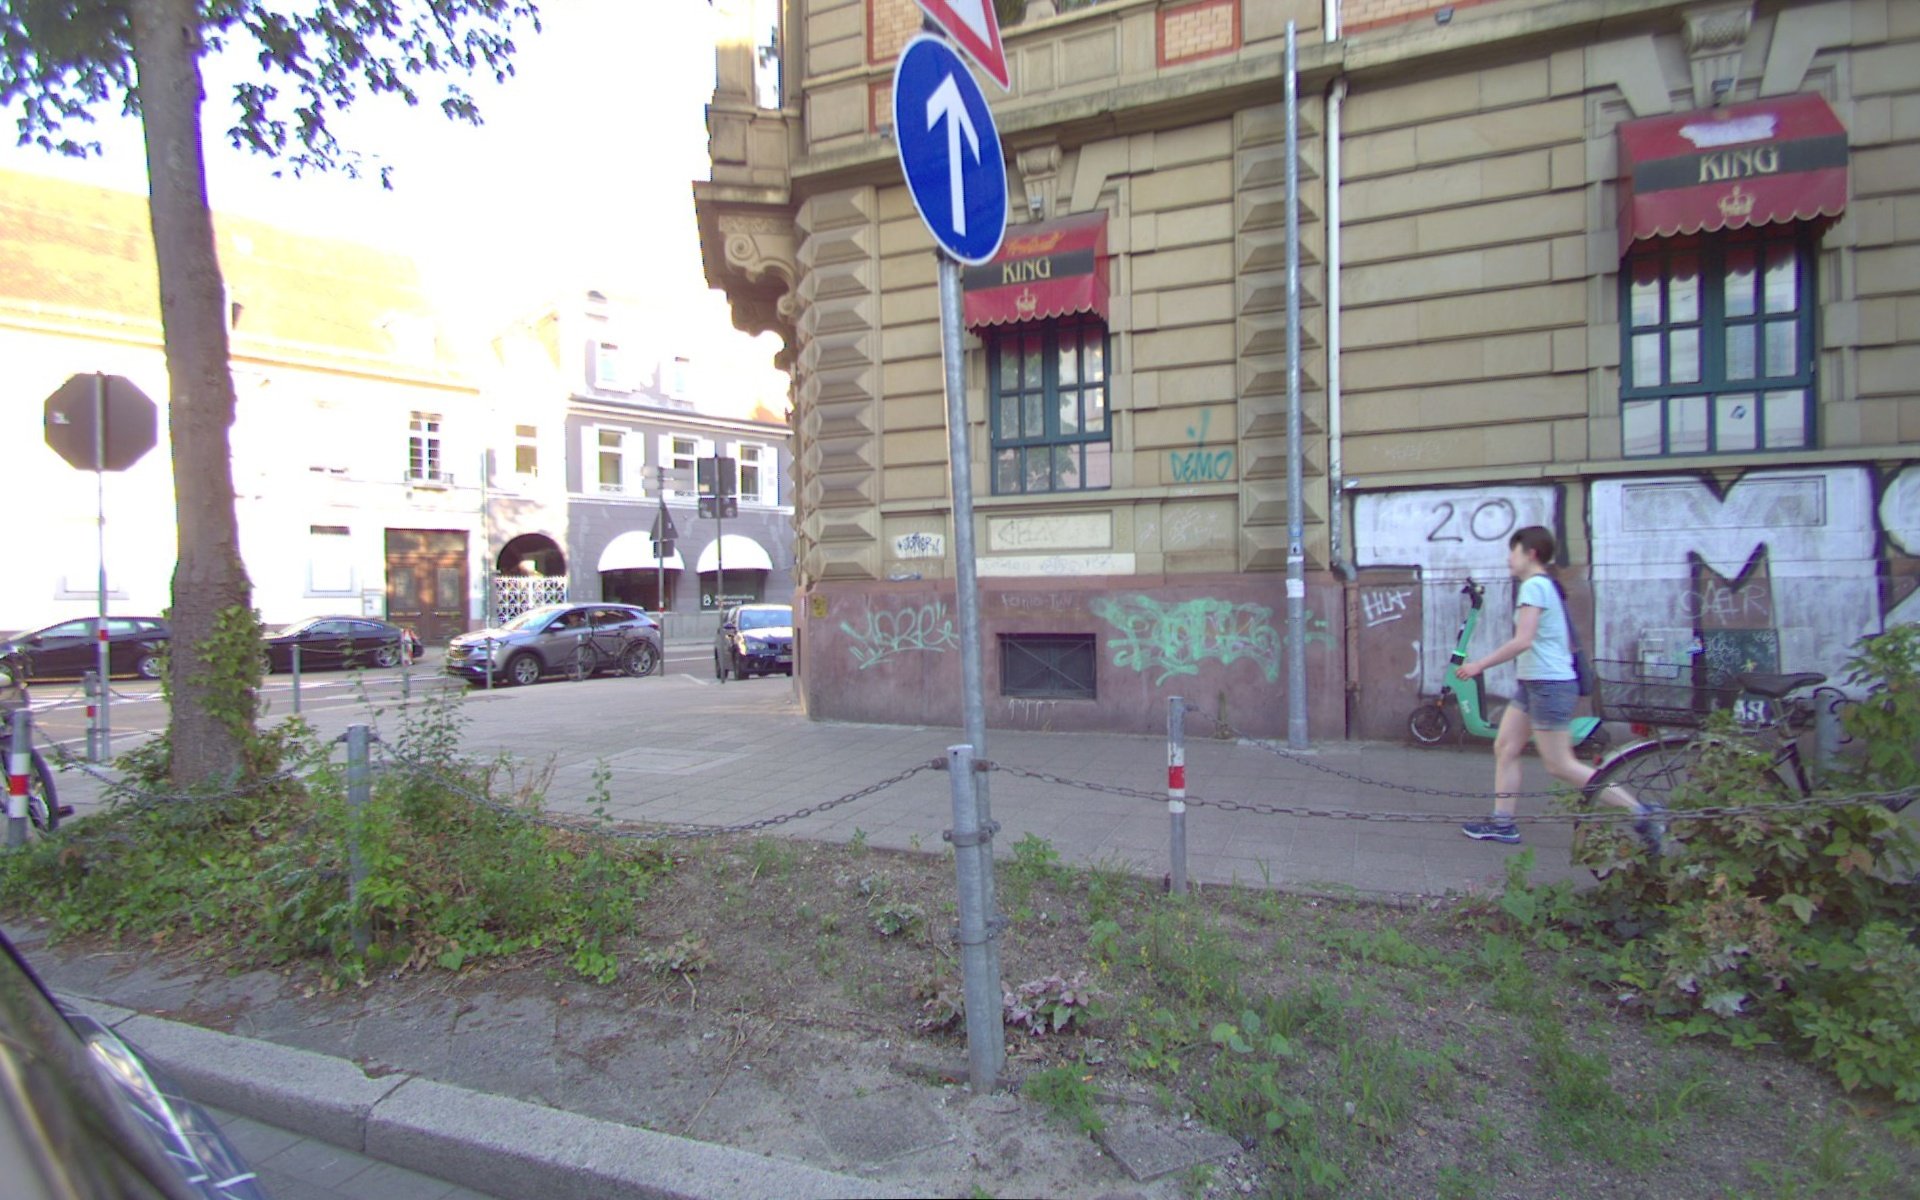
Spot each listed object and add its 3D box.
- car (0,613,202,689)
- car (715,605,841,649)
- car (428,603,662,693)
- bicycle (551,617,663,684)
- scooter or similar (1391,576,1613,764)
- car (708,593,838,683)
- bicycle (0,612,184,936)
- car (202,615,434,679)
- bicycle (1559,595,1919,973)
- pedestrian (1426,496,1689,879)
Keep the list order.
[{"bbox_3d":[-19.785,1.104,22.612,4.365,1.553,1.809,0,-1,-44],"label":"car"},{"bbox_3d":[-6.500,0.930,36.404,4.187,1.458,1.749,-1,-1,-45],"label":"car"},{"bbox_3d":[-8.347,0.881,20.681,1.687,1.601,4.186,0,0,36],"label":"car"},{"bbox_3d":[-6.432,0.911,18.466,1.774,1.134,0.730,-1,-3,-36],"label":"bicycle"},{"bbox_3d":[3.694,0.446,6.939,1.284,1.176,0.434,-1,1,36],"label":"scooter or similar"},{"bbox_3d":[-3.594,0.745,18.879,1.711,1.472,3.875,-1,-3,-20],"label":"car"},{"bbox_3d":[-4.706,0.717,4.964,2.569,1.277,0.835,-1,-1,38],"label":"bicycle"},{"bbox_3d":[-16.342,1.144,25.942,4.784,1.405,1.780,-1,-1,-43],"label":"car"},{"bbox_3d":[3.226,0.572,3.324,2.088,1.162,0.508,-1,1,24],"label":"bicycle"},{"bbox_3d":[2.777,0.346,4.704,0.978,1.568,0.692,0,2,37],"label":"pedestrian"}]
